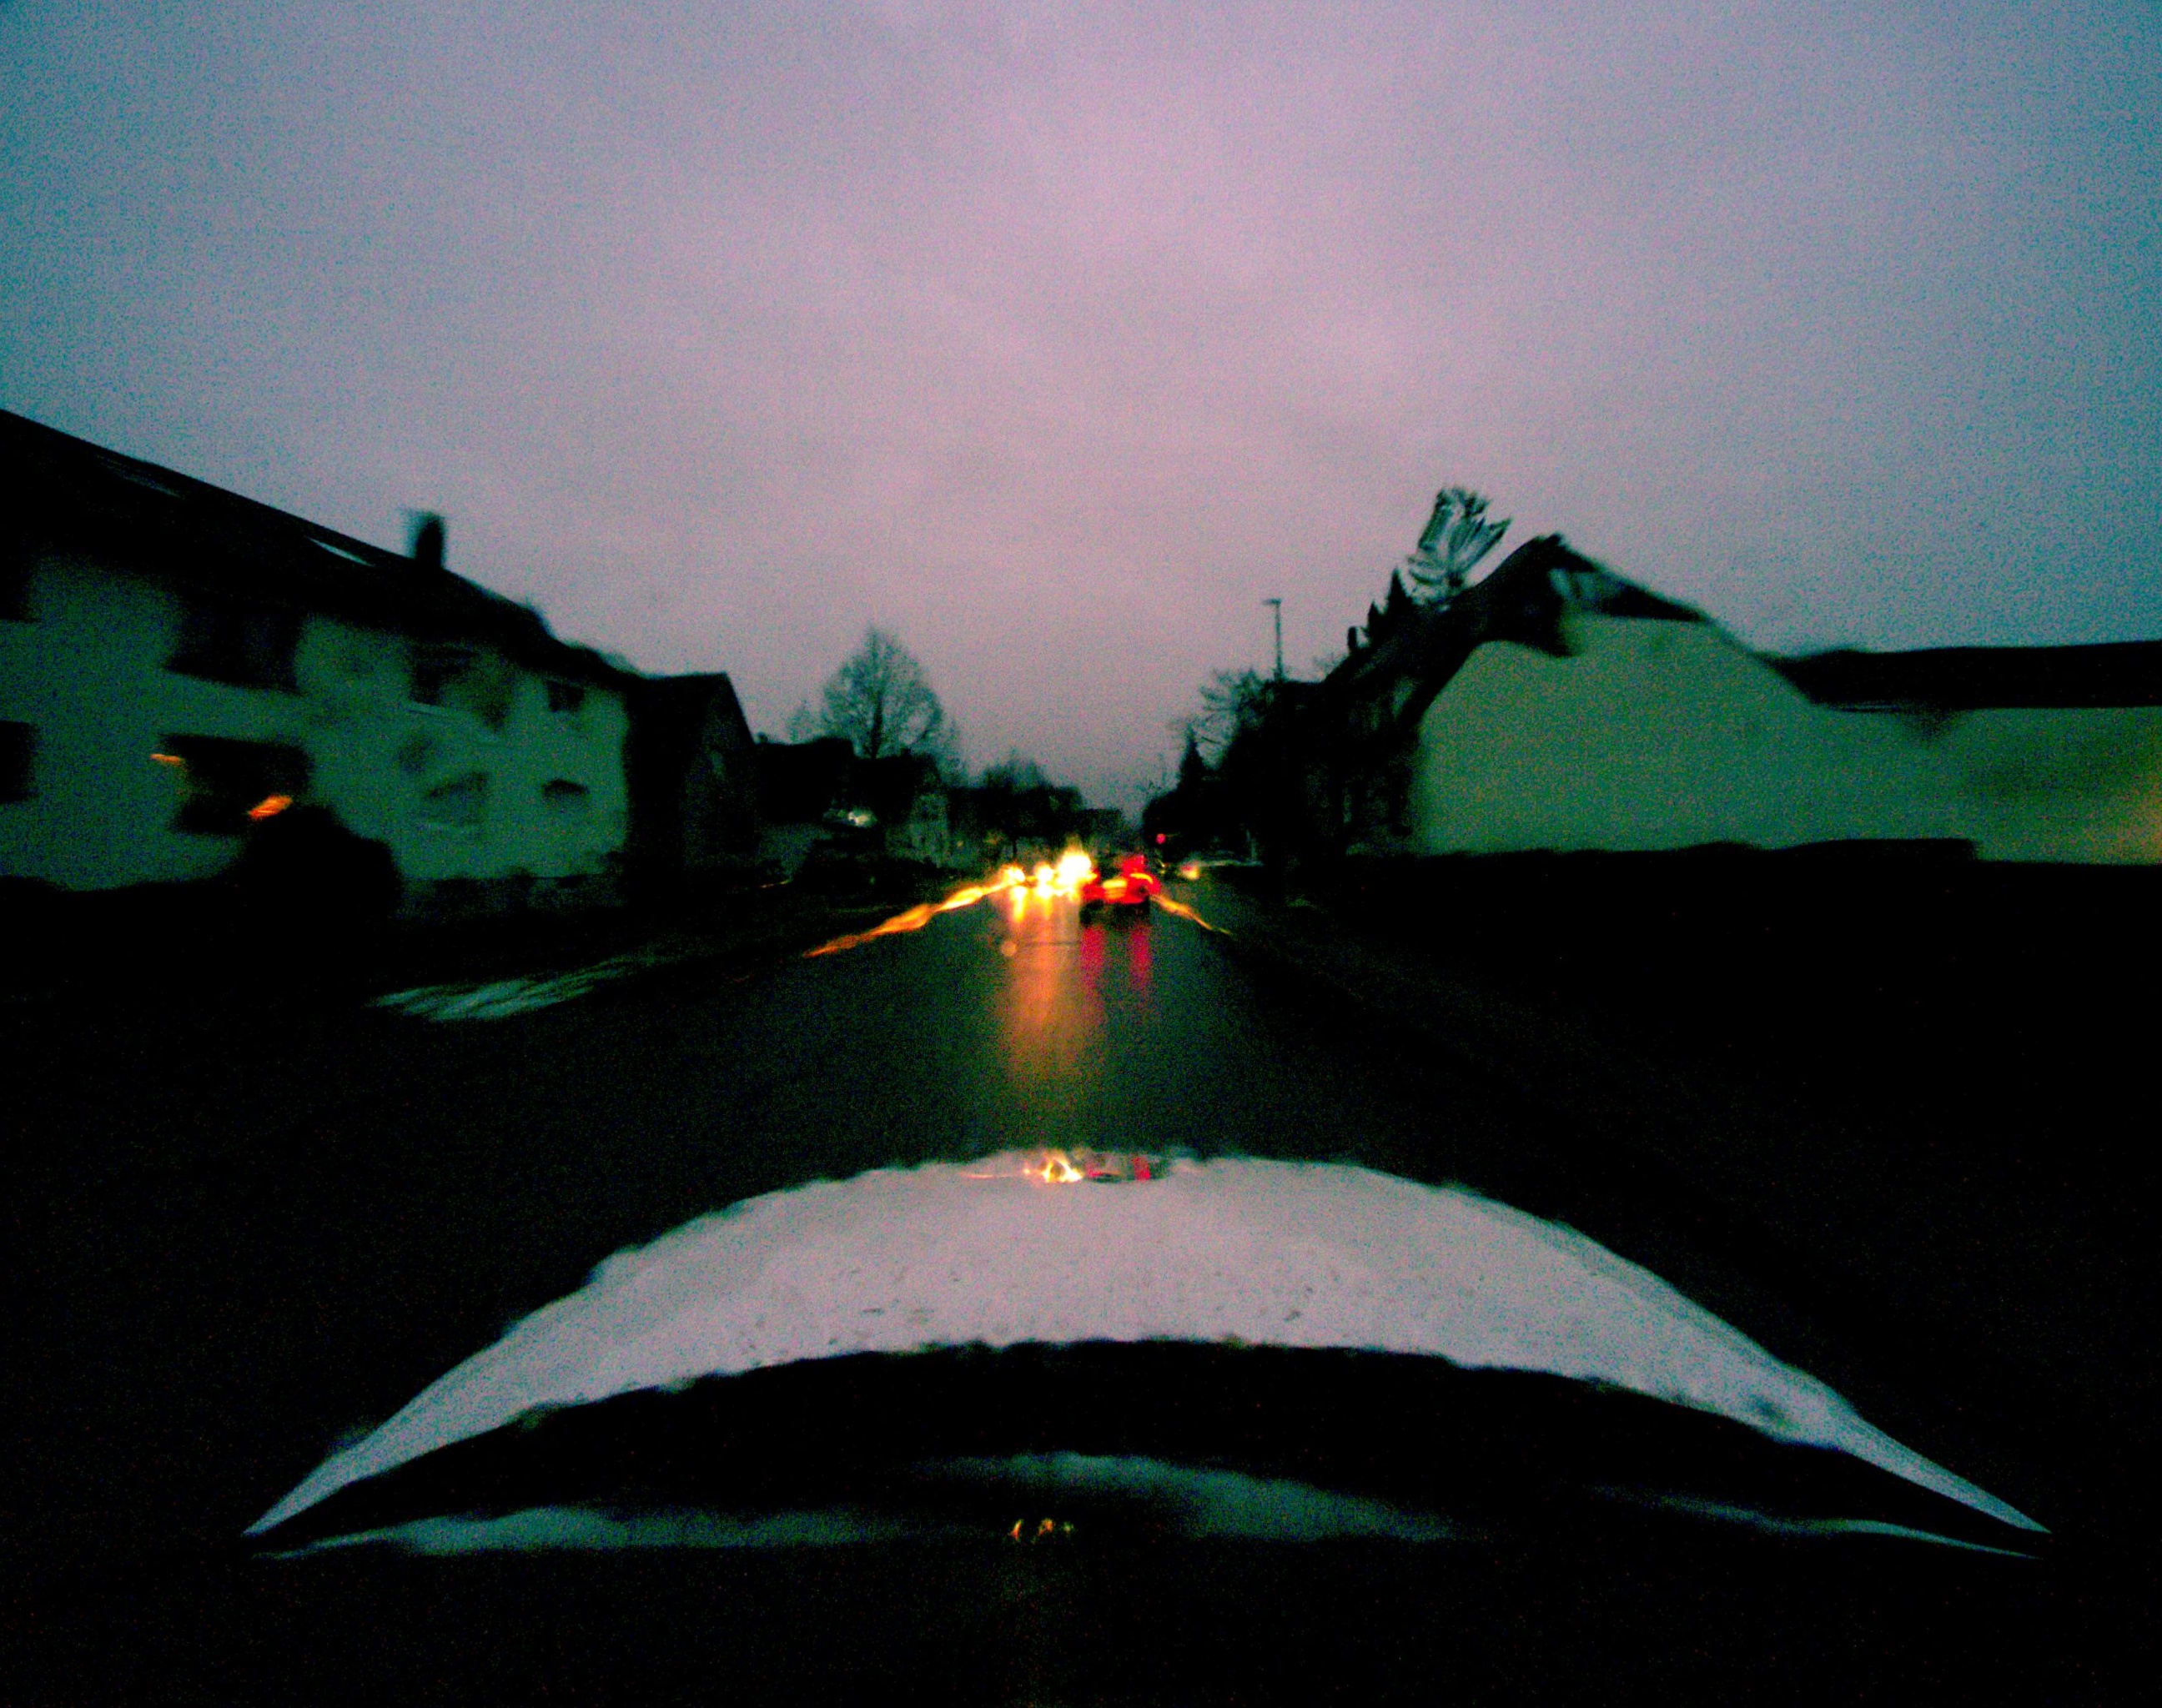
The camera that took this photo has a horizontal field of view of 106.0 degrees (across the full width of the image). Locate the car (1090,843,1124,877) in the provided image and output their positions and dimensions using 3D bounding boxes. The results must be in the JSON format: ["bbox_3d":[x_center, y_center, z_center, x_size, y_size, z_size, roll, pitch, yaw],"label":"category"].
[{"bbox_3d":[1.662,0.383,51.352,1.985,2.014,4.004,0,-1,4],"label":"car"}]

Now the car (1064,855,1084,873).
[{"bbox_3d":[-0.686,0.998,83.455,1.807,1.633,4.225,-3,0,1],"label":"car"}]

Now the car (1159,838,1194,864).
[{"bbox_3d":[6.320,-0.211,54.394,1.886,1.554,4.758,-3,0,2],"label":"car"}]

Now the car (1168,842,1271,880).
[{"bbox_3d":[6.532,0.323,38.804,4.710,1.629,1.910,-2,0,6],"label":"car"}]

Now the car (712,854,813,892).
[{"bbox_3d":[-16.686,0.989,42.808,4.525,1.800,1.916,-2,0,9],"label":"car"}]

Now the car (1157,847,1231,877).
[{"bbox_3d":[6.636,0.476,48.040,4.087,1.706,2.000,-1,-1,1],"label":"car"}]

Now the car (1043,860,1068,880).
[{"bbox_3d":[-1.943,1.200,63.505,1.698,1.441,4.425,-3,0,1],"label":"car"}]

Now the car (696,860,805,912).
[{"bbox_3d":[-12.311,1.139,30.681,1.985,1.756,4.571,-2,0,3],"label":"car"}]

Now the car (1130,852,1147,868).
[{"bbox_3d":[7.813,0.802,110.479,1.983,2.013,4.007,-2,0,6],"label":"car"}]

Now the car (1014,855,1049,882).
[{"bbox_3d":[-2.876,0.851,48.171,1.698,1.441,4.000,-3,0,1],"label":"car"}]

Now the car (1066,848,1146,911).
[{"bbox_3d":[0.650,0.640,22.344,1.987,1.525,4.000,-1,0,0],"label":"car"}]
